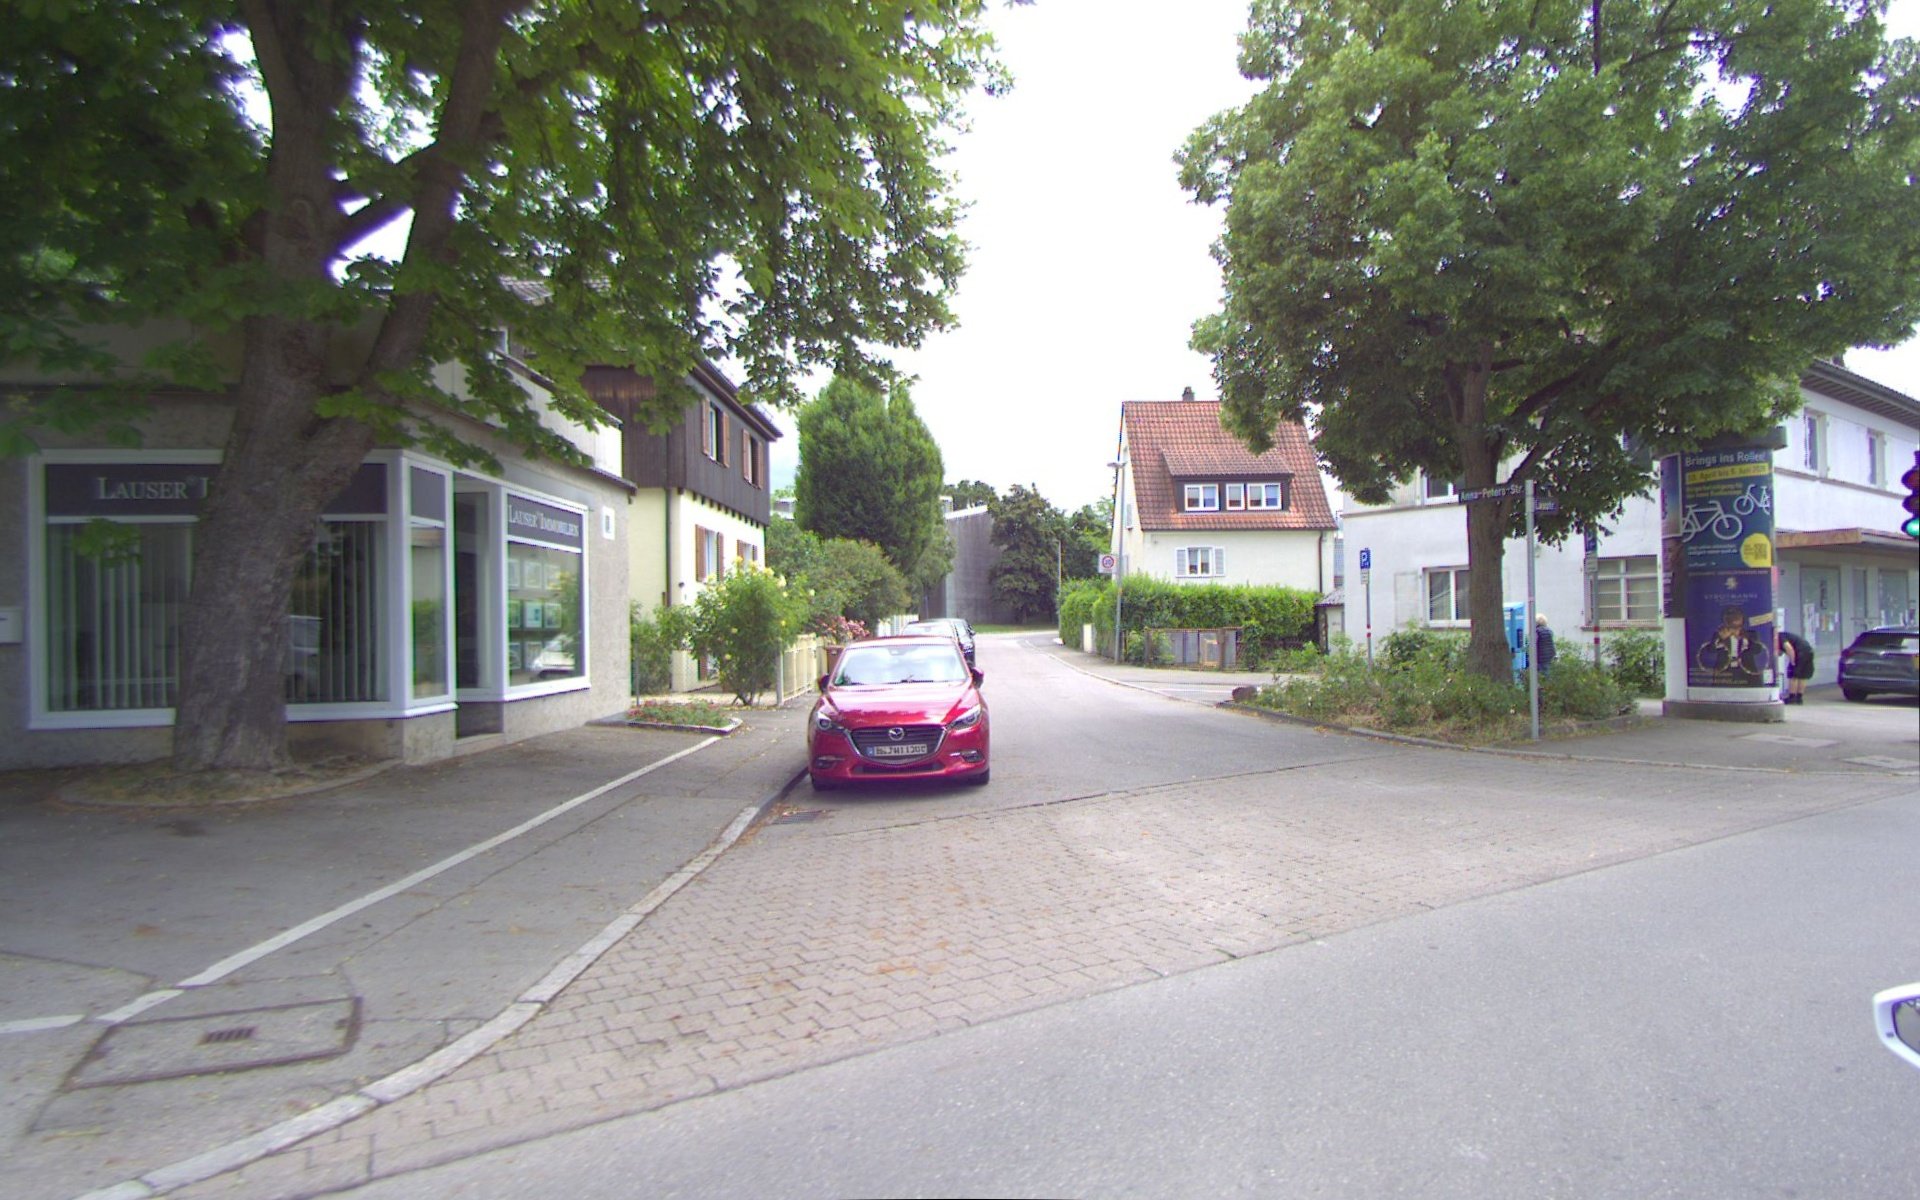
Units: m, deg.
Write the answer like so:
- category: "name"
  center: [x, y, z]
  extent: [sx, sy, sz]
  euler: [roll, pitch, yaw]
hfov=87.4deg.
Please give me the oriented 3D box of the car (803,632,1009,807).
- category: "car"
  center: [-0.529, 1.136, 11.107]
  extent: [1.781, 1.451, 4.233]
  euler: [-3, -1, -1]

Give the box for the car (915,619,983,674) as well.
- category: "car"
  center: [-0.362, 1.368, 30.810]
  extent: [1.890, 1.514, 4.434]
  euler: [-1, -1, -1]

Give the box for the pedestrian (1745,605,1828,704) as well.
- category: "pedestrian"
  center: [15.029, 0.961, 18.279]
  extent: [0.749, 1.741, 0.886]
  euler: [0, 1, -17]

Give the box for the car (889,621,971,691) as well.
- category: "car"
  center: [-0.672, 1.319, 24.977]
  extent: [1.795, 1.509, 3.980]
  euler: [-2, -1, 1]

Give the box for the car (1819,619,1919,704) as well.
- category: "car"
  center: [18.684, 1.148, 19.149]
  extent: [4.463, 1.460, 1.774]
  euler: [1, 0, -24]

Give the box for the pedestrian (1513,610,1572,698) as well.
- category: "pedestrian"
  center: [11.155, 1.009, 19.254]
  extent: [0.706, 1.638, 0.695]
  euler: [-1, 0, -27]
